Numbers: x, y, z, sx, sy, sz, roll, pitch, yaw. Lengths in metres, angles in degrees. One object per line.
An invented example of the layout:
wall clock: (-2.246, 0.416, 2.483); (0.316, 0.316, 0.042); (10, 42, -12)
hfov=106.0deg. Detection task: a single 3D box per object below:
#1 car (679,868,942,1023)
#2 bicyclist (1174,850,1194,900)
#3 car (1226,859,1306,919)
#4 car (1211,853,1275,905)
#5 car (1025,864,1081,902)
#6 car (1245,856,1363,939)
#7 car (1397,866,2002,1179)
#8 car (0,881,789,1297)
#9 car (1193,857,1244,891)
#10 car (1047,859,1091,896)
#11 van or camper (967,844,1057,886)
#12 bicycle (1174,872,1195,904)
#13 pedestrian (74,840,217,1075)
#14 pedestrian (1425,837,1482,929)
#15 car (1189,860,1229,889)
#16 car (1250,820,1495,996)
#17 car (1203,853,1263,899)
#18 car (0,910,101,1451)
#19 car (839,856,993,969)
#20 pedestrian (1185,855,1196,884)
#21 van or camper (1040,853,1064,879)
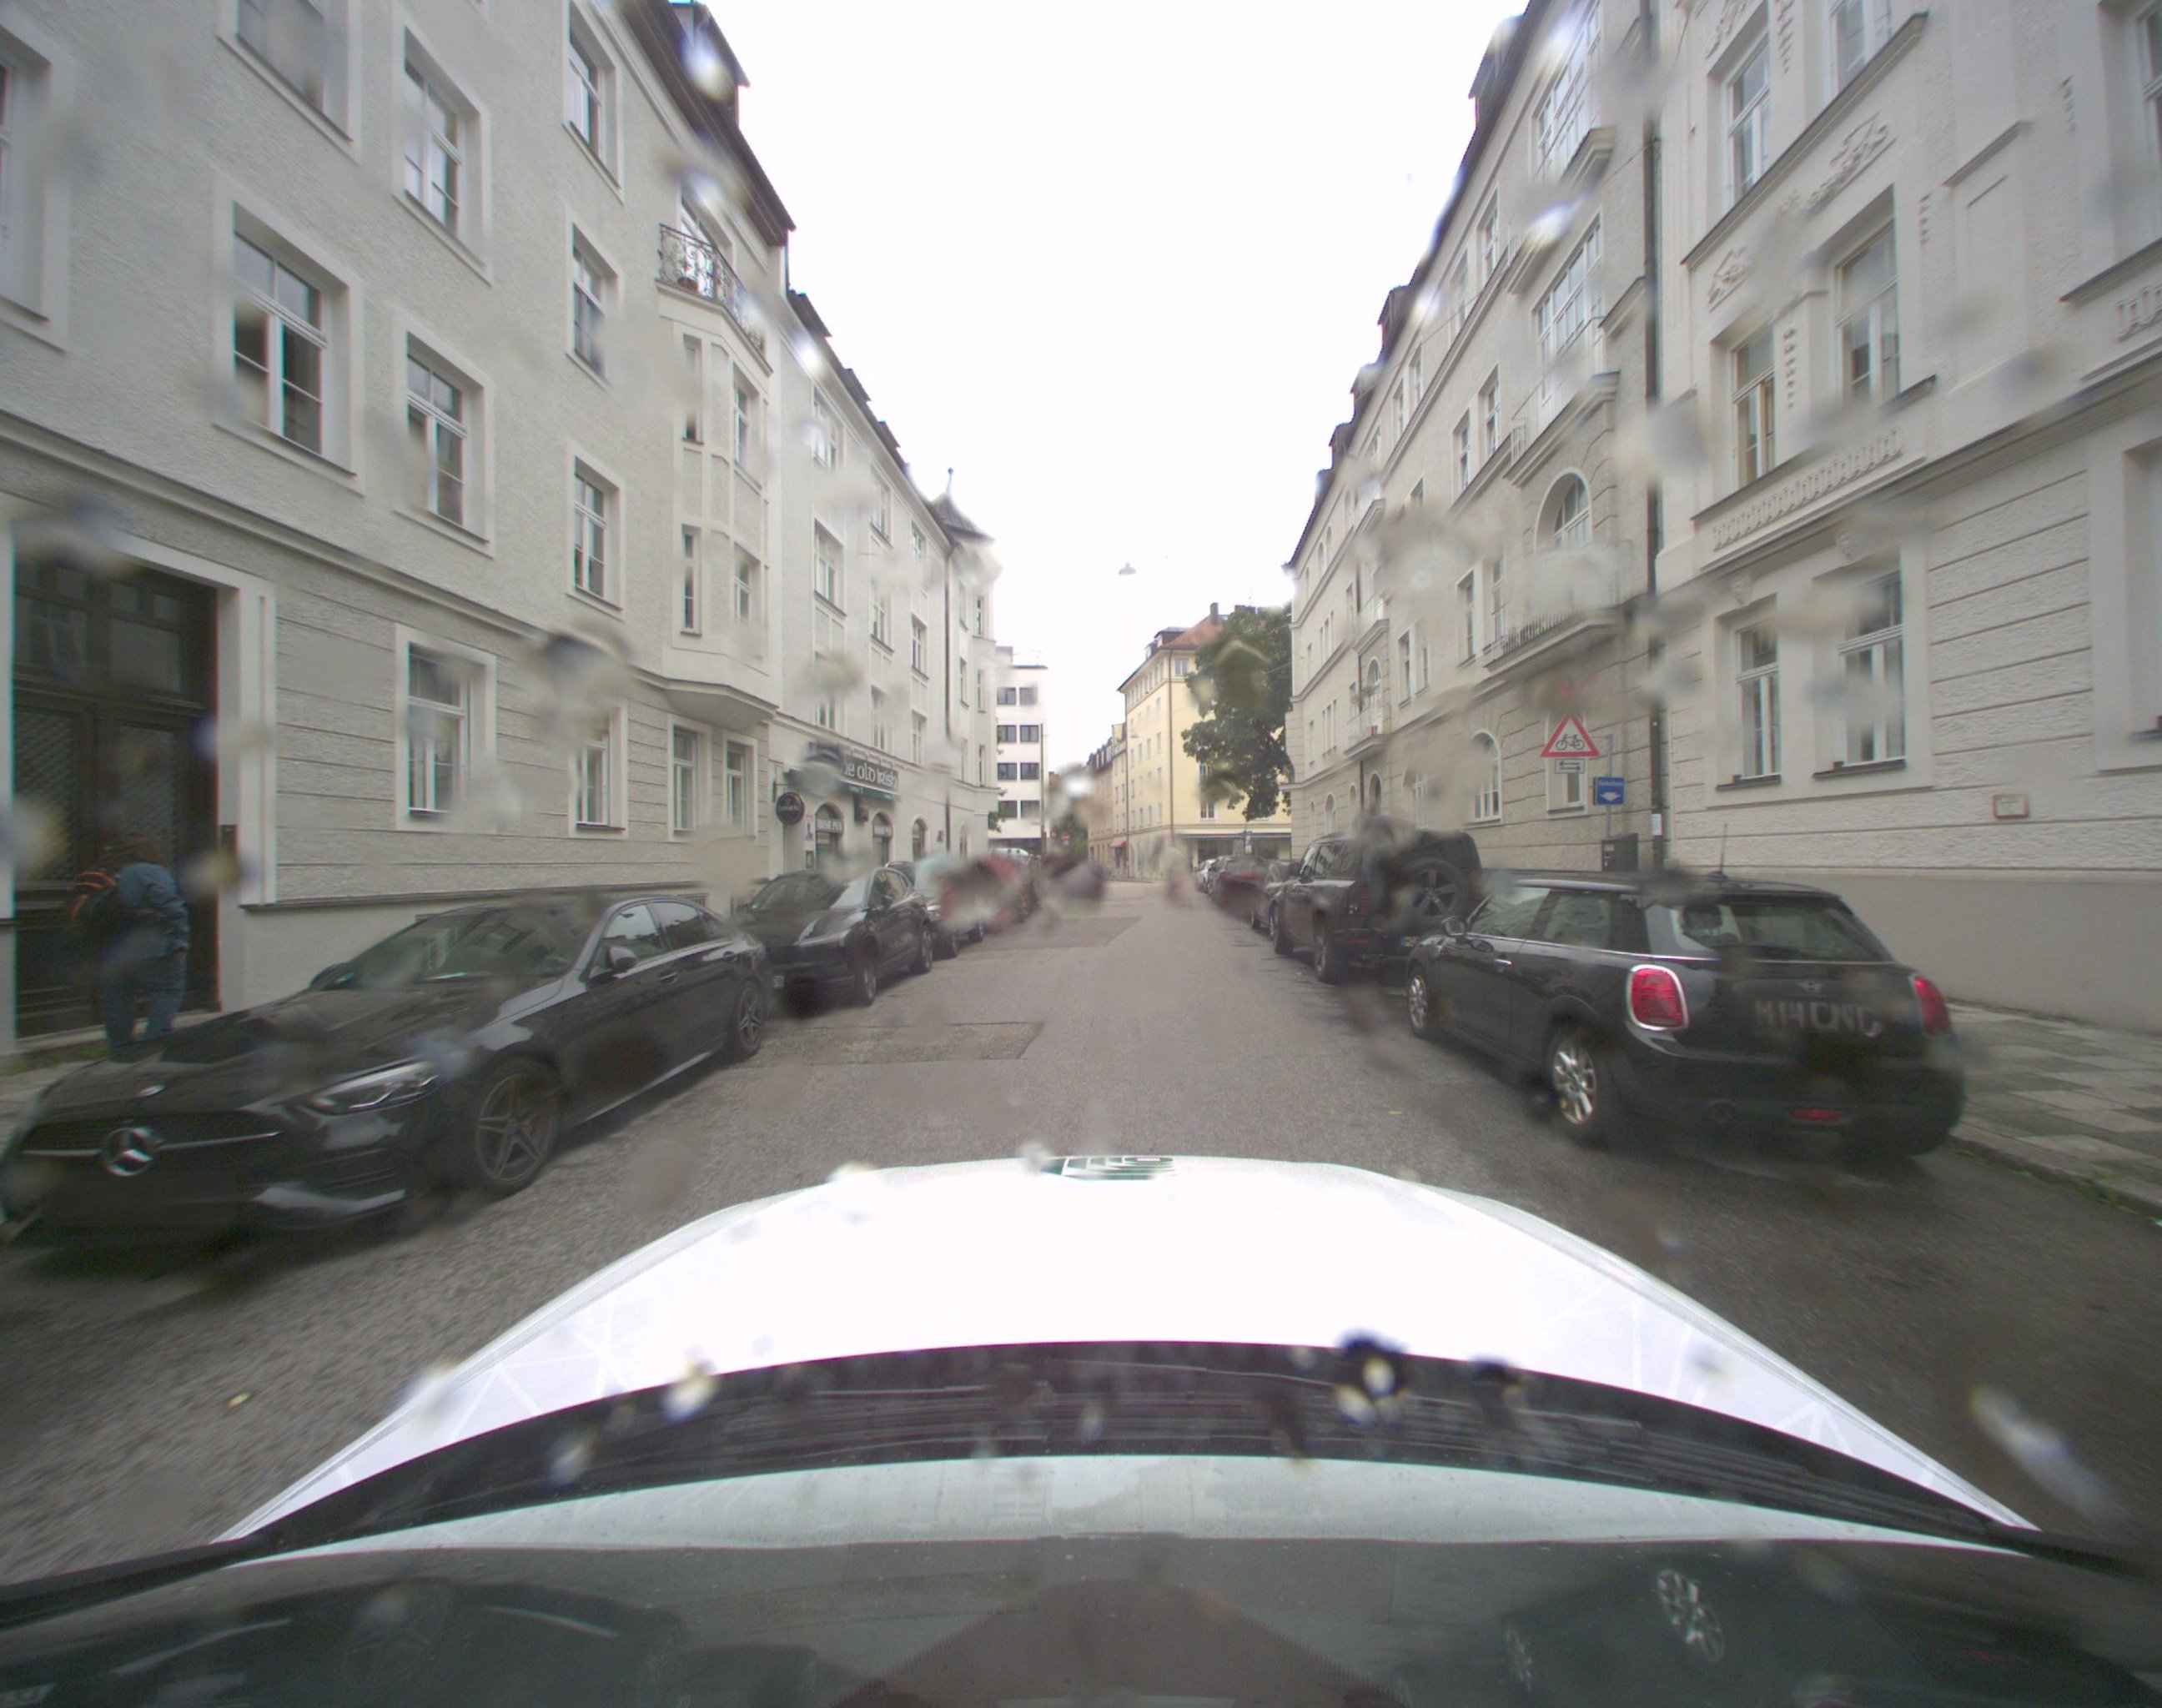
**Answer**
car: (-3.079, 0.953, 10.277); (1.735, 1.487, 4.183); (-1, 0, 2)
bicyclist: (3.413, 0.695, 27.008); (0.603, 1.606, 0.759); (-1, 0, 7)
car: (4.997, 0.885, 22.479); (1.698, 1.471, 4.208); (-1, 0, 6)
car: (5.484, 0.804, 28.003); (1.768, 1.636, 4.382); (0, 0, 6)
car: (-1.112, 1.177, 34.358); (1.698, 1.390, 4.007); (-3, -1, 7)
car: (4.514, 0.818, 16.993); (1.648, 1.525, 3.640); (0, 0, 3)
car: (3.554, 0.797, 5.582); (1.656, 1.395, 3.586); (1, -1, 5)
car: (-3.623, 0.972, 5.315); (1.805, 1.385, 4.442); (-3, 0, -1)
car: (6.441, 0.931, 38.426); (1.744, 1.496, 3.909); (-1, -1, 0)
car: (-0.518, 1.085, 38.984); (1.669, 1.597, 3.950); (-3, -1, 5)
van or camper: (-4.653, 0.758, 55.249); (5.895, 2.677, 1.869); (-1, -3, -5)
bicycle: (3.420, 1.121, 26.959); (0.636, 1.004, 1.577); (-1, -1, 7)
pedestrian: (-7.340, 0.755, 6.392); (0.657, 1.707, 0.704); (-1, -1, 38)
pedestrian: (7.024, 0.539, 15.388); (0.677, 1.674, 0.654); (-3, -1, 0)
car: (6.690, 1.057, 42.933); (1.662, 1.435, 4.217); (0, 0, 3)
car: (3.675, 0.601, 11.268); (1.903, 1.885, 4.717); (1, 0, 3)
car: (6.130, 0.876, 33.357); (1.782, 1.713, 4.429); (-1, -1, 3)
car: (-3.908, 0.908, 0.160); (1.787, 1.420, 4.514); (-4, -1, 3)
car: (-2.849, 0.932, 15.076); (1.739, 1.673, 4.277); (-4, 0, 2)
pedestrian: (6.392, 0.915, 47.384); (0.607, 1.661, 0.552); (-1, -1, 7)
van or camper: (-2.970, 1.234, 83.098); (1.992, 2.540, 4.748); (-1, -1, -7)
